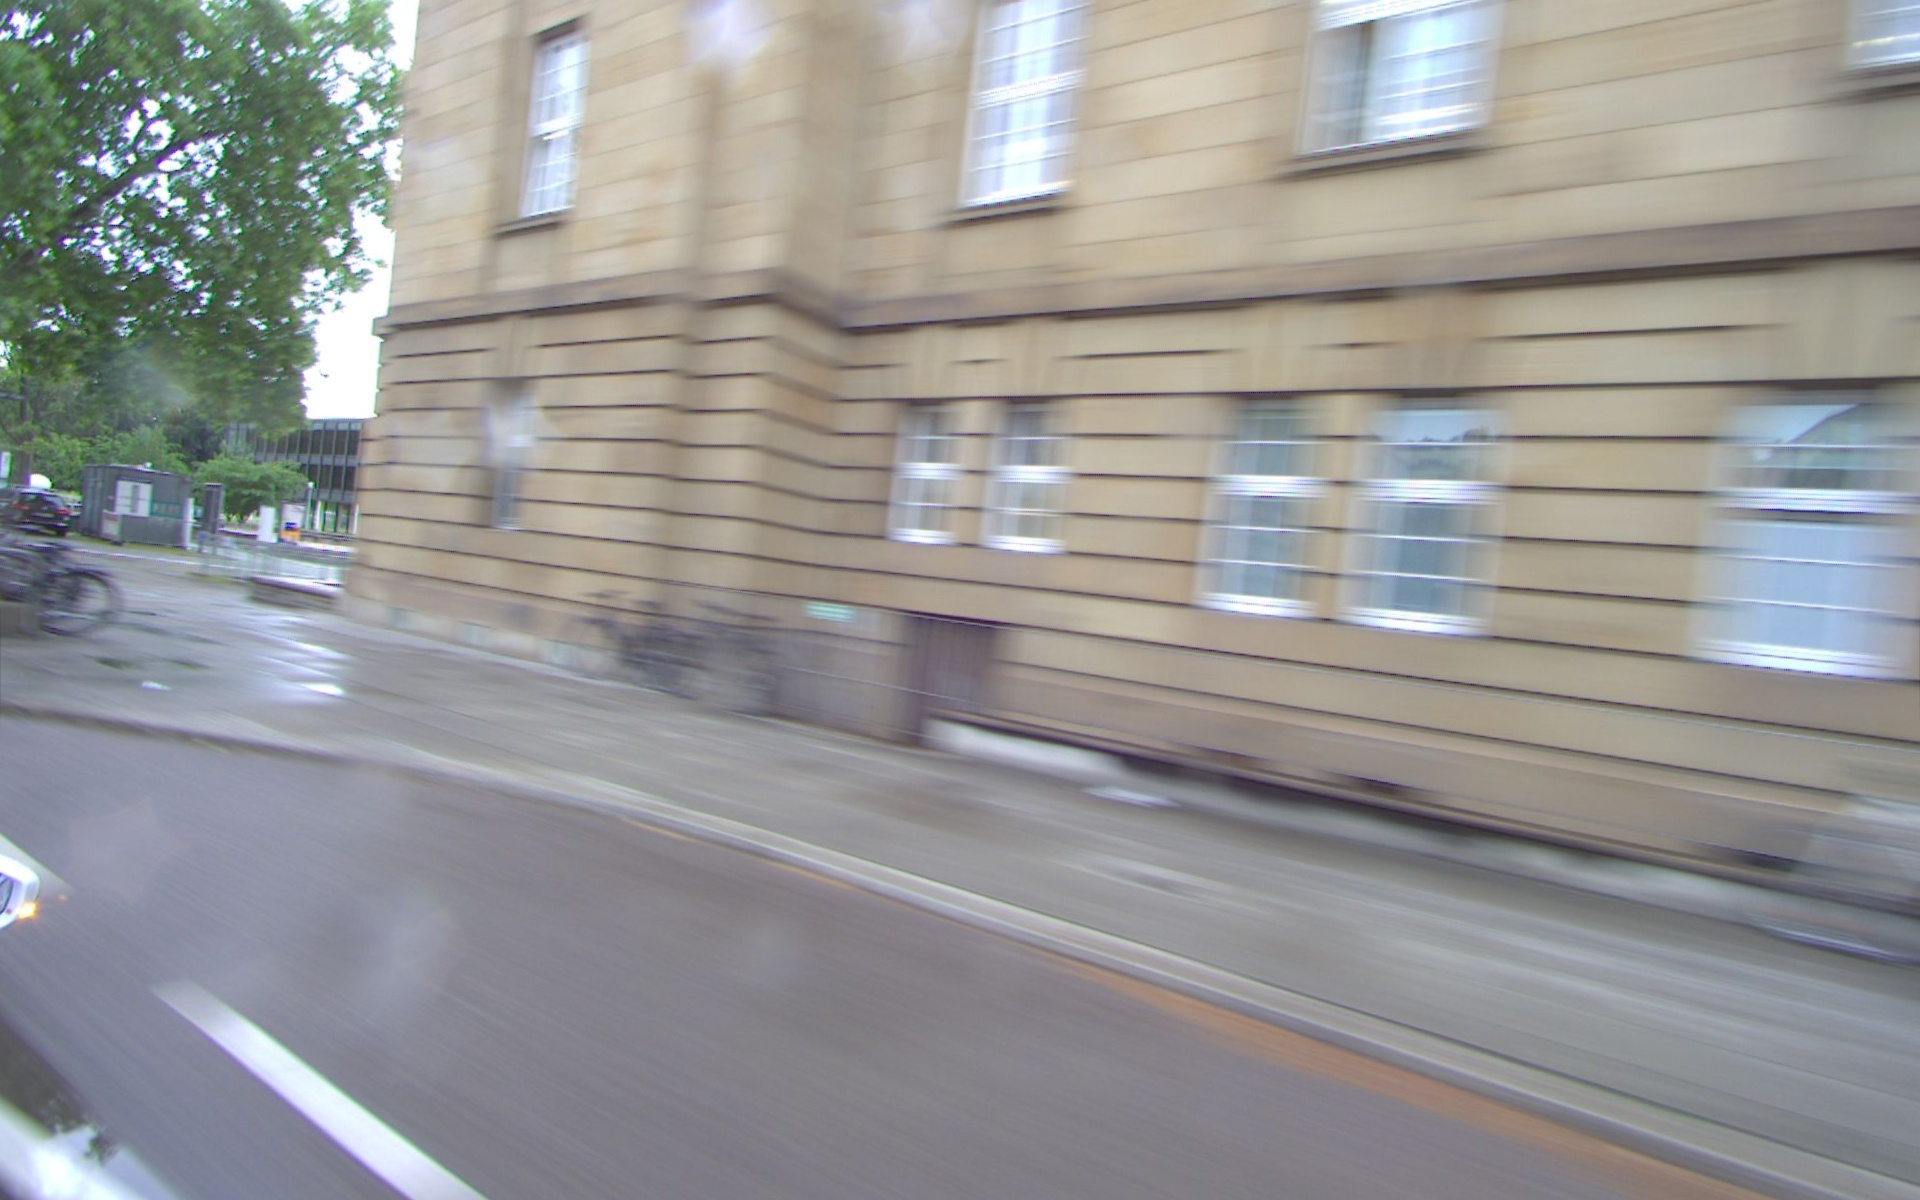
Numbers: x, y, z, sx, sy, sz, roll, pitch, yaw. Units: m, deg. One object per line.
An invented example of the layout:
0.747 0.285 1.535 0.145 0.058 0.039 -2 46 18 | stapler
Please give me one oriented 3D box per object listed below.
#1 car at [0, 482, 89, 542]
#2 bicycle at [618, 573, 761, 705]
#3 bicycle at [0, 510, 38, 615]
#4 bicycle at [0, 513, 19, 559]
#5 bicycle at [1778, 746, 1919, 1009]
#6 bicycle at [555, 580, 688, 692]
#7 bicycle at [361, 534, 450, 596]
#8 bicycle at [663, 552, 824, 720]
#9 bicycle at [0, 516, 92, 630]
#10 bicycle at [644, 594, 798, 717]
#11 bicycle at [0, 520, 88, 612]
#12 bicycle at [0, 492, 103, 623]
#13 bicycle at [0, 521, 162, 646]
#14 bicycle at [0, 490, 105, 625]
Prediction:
-32.986 -3.189 35.471 5.150 1.629 1.996 8 0 33 | car
-3.029 0.416 11.202 1.573 1.265 0.454 6 -1 32 | bicycle
-11.179 -0.489 10.837 0.592 1.136 1.679 7 0 35 | bicycle
-23.226 -1.617 23.524 0.566 1.032 1.641 6 -3 38 | bicycle
5.293 1.491 5.069 1.664 1.230 0.464 6 0 32 | bicycle
-3.886 0.388 11.474 1.760 1.094 0.352 5 2 33 | bicycle
-17.596 -1.077 32.003 0.761 1.686 2.321 5 -1 28 | bicycle
-2.237 0.349 10.332 1.573 1.533 0.454 7 -1 32 | bicycle
-10.047 -0.325 10.231 0.640 1.103 1.679 6 -1 35 | bicycle
-2.549 0.566 10.629 1.760 1.093 0.352 6 -1 33 | bicycle
-11.399 -0.442 11.831 0.516 1.006 1.590 7 -1 35 | bicycle
-10.698 -0.529 10.734 0.640 1.352 2.192 6 -1 35 | bicycle
-8.850 -0.184 9.394 0.747 1.073 1.988 6 -1 30 | bicycle
-10.308 -0.500 10.516 0.640 1.348 1.907 6 -1 35 | bicycle
